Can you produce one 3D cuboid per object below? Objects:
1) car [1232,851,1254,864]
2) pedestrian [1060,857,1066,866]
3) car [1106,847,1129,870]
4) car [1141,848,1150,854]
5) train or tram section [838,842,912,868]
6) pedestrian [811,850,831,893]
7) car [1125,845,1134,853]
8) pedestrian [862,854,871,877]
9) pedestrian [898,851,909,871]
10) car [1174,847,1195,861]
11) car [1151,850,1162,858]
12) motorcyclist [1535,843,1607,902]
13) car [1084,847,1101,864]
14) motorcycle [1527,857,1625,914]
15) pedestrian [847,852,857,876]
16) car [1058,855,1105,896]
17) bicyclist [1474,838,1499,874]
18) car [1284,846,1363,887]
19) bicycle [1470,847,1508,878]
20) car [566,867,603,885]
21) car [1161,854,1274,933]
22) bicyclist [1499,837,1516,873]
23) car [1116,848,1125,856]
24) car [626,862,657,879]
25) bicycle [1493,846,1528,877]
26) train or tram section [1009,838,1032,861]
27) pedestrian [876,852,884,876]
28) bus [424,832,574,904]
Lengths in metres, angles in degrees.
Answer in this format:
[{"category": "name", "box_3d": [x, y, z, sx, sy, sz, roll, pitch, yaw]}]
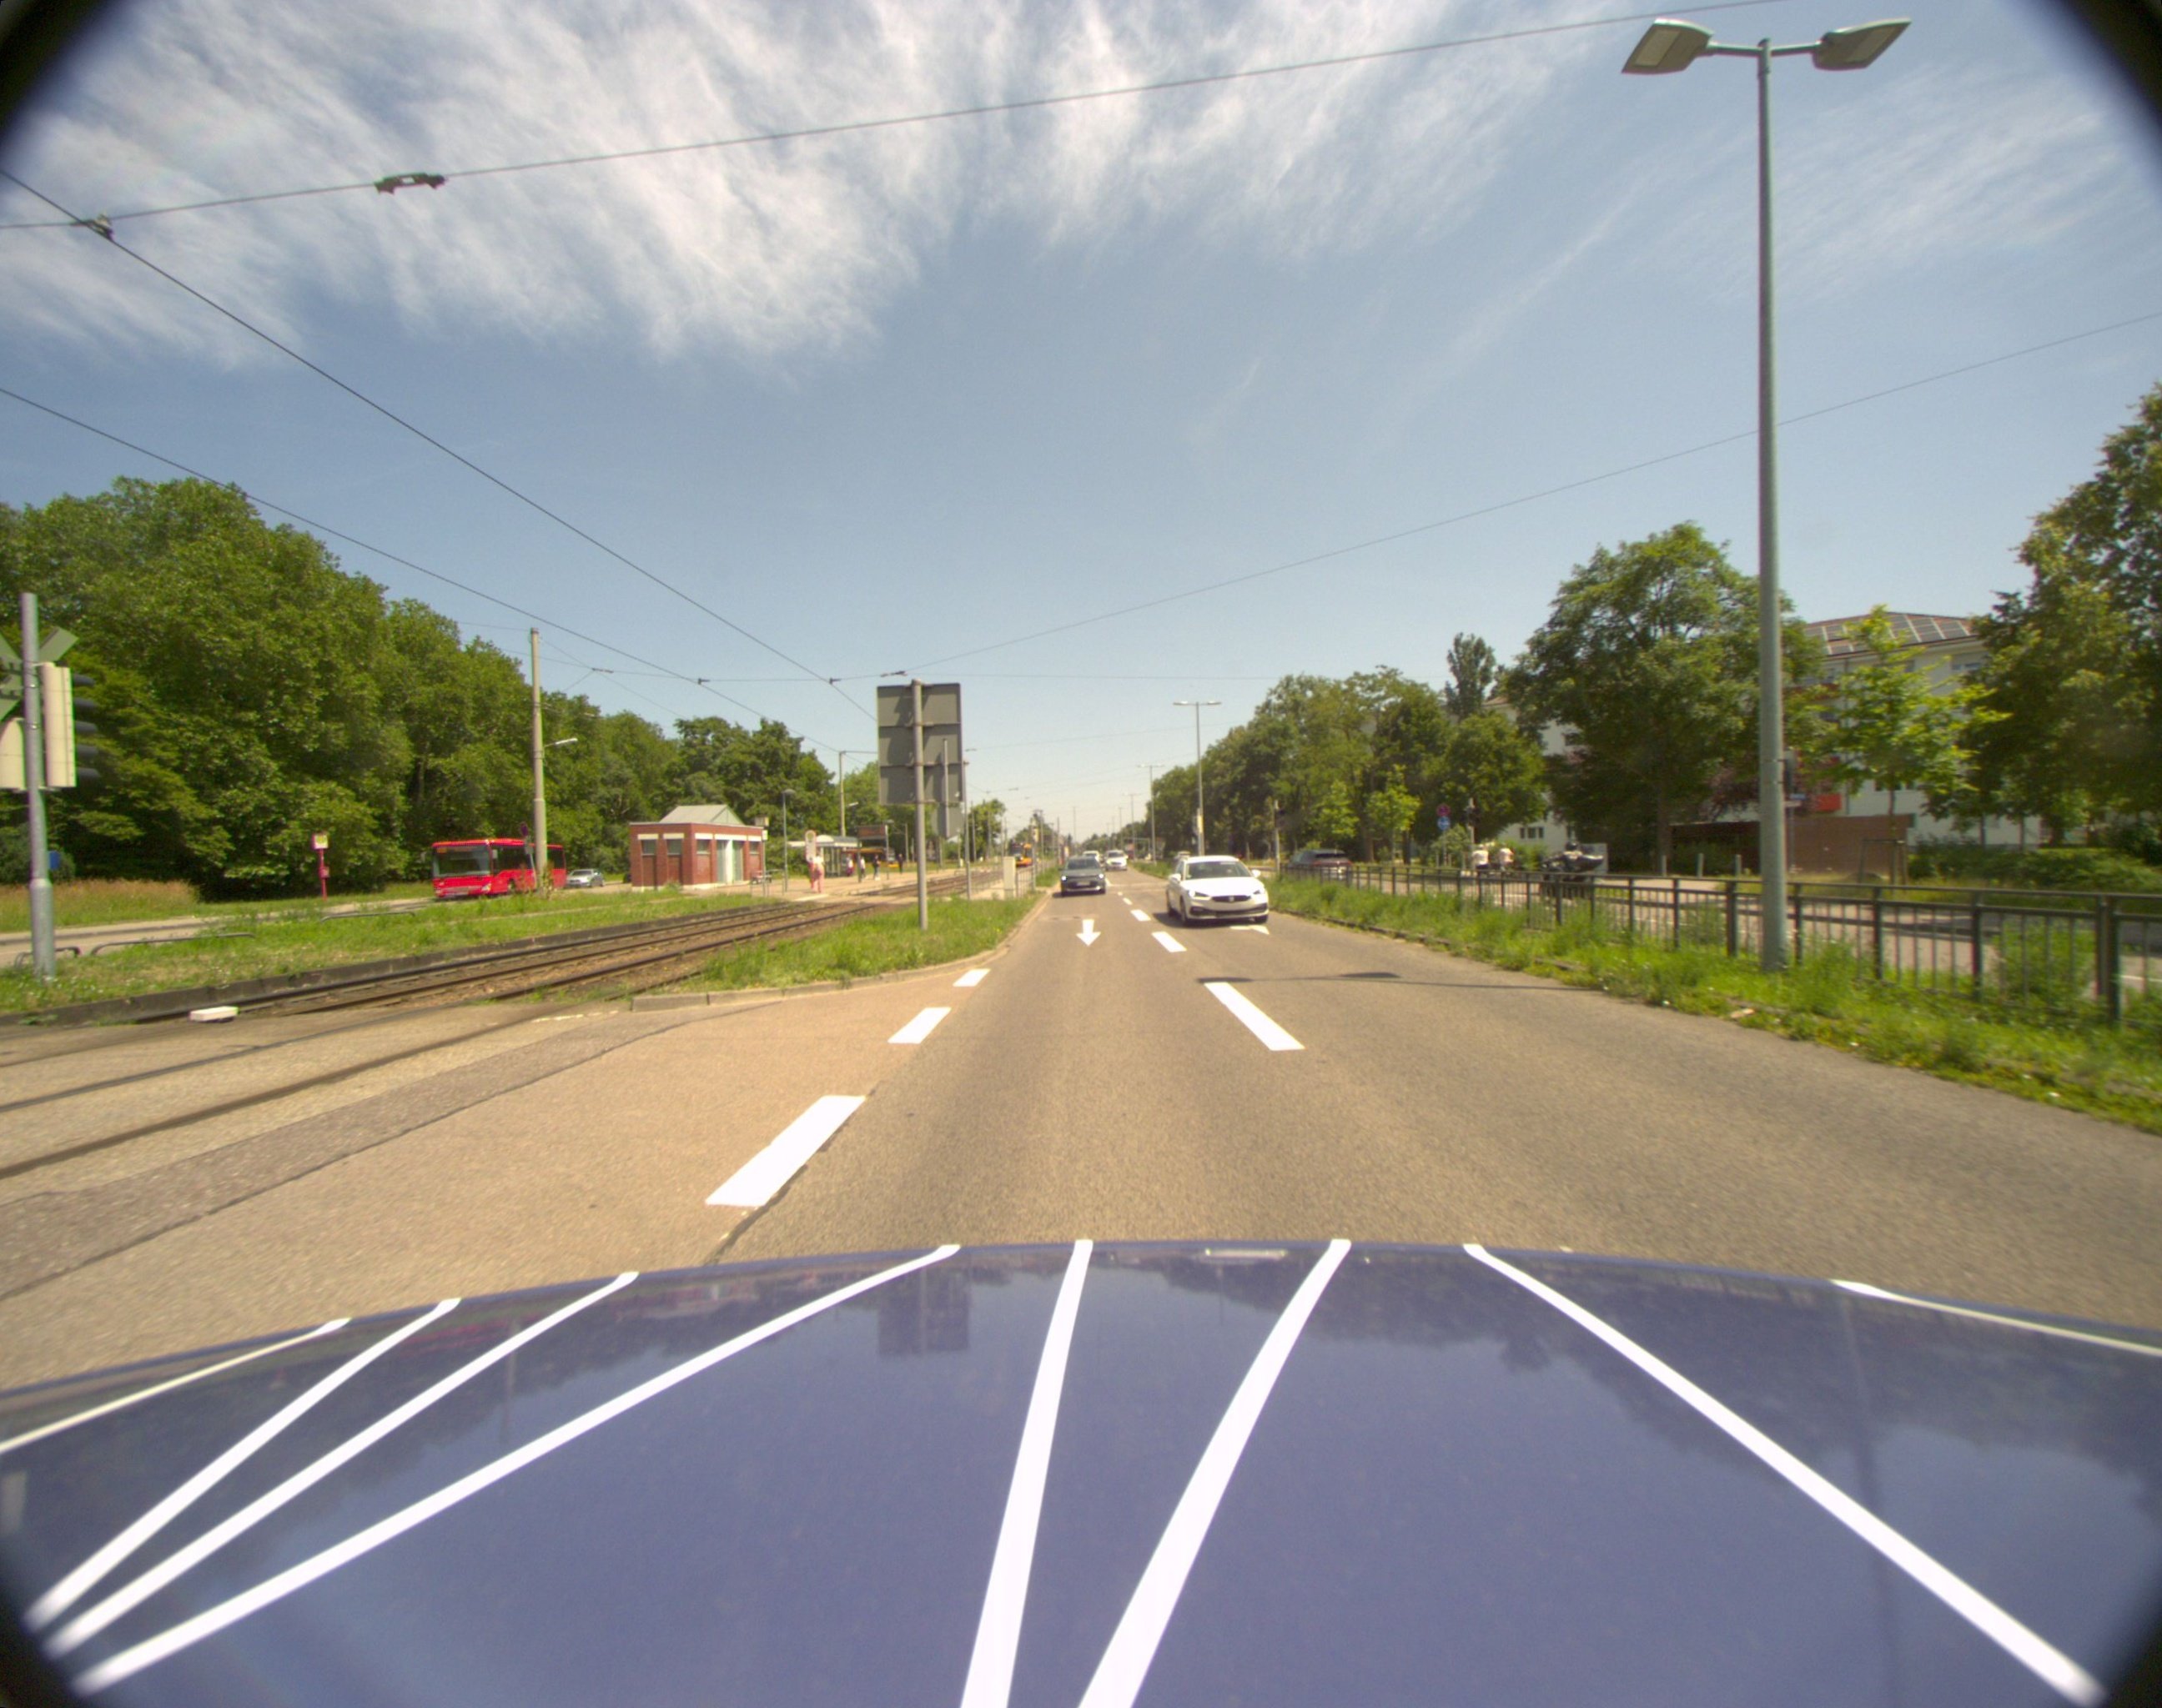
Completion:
[{"category": "car", "box_3d": [20.617, 0.385, 97.053, 1.998, 1.576, 4.000, -1, 0, 1]}, {"category": "pedestrian", "box_3d": [-2.090, 0.835, 88.026, 0.577, 1.034, 0.579, -1, 1, 1]}, {"category": "car", "box_3d": [3.333, 0.376, 69.702, 1.998, 2.002, 4.000, -1, 1, 3]}, {"category": "car", "box_3d": [16.729, -0.886, 196.937, 1.772, 1.545, 4.082, 0, 1, -1]}, {"category": "train or tram section", "box_3d": [-32.692, 0.220, 120.370, 13.151, 3.628, 2.720, -2, 2, 31]}, {"category": "pedestrian", "box_3d": [-11.056, 0.726, 32.354, 0.637, 1.749, 0.815, -3, 2, -13]}, {"category": "car", "box_3d": [12.017, -1.291, 188.278, 1.998, 2.002, 4.000, -1, 0, 2]}, {"category": "pedestrian", "box_3d": [-15.014, 0.816, 53.278, 0.361, 1.587, 0.483, -3, 2, 4]}, {"category": "pedestrian", "box_3d": [-15.515, 0.602, 66.404, 0.707, 1.754, 0.657, -1, 1, 3]}, {"category": "car", "box_3d": [12.395, 0.008, 91.578, 1.826, 1.563, 4.346, -1, 0, -1]}, {"category": "car", "box_3d": [16.585, 0.015, 166.630, 1.864, 1.748, 4.478, -2, 1, -2]}, {"category": "motorcyclist", "box_3d": [12.160, 0.437, 18.901, 0.738, 1.395, 1.512, -1, 1, -4]}, {"category": "car", "box_3d": [1.406, 0.209, 91.945, 1.921, 2.002, 4.000, -1, 0, 0]}, {"category": "motorcycle", "box_3d": [12.204, 0.734, 18.845, 0.807, 1.291, 2.394, -1, 0, -2]}, {"category": "pedestrian", "box_3d": [-17.311, 0.746, 57.433, 0.382, 1.764, 0.740, -3, 2, 4]}, {"category": "car", "box_3d": [0.079, 0.869, 32.015, 1.787, 1.554, 4.136, -1, 0, 3]}, {"category": "bicyclist", "box_3d": [15.560, 0.077, 29.194, 0.546, 1.338, 0.755, -1, 1, 0]}, {"category": "car", "box_3d": [9.822, 0.455, 31.101, 1.761, 1.534, 4.160, -1, 0, -2]}, {"category": "bicycle", "box_3d": [15.566, 0.322, 29.034, 0.589, 1.126, 1.615, -1, 0, 1]}, {"category": "car", "box_3d": [-36.955, 1.616, 56.637, 1.575, 1.259, 3.992, -1, 0, -22]}, {"category": "car", "box_3d": [2.957, 0.796, 17.266, 1.772, 1.460, 4.111, -3, 0, 0]}, {"category": "bicyclist", "box_3d": [16.277, 0.037, 29.005, 0.358, 1.384, 0.440, -2, 1, 3]}, {"category": "car", "box_3d": [9.165, -0.498, 176.616, 1.816, 1.630, 4.002, -3, -2, 1]}, {"category": "car", "box_3d": [-43.030, 1.601, 74.470, 1.889, 1.502, 3.993, -1, 0, -18]}, {"category": "bicycle", "box_3d": [16.274, 0.278, 28.830, 0.555, 1.088, 1.379, -3, 1, 2]}, {"category": "train or tram section", "box_3d": [-8.847, -0.621, 112.442, 2.524, 3.303, 7.260, -1, 0, 1]}, {"category": "pedestrian", "box_3d": [-13.897, 0.713, 52.614, 0.361, 1.636, 0.445, -1, 1, 4]}, {"category": "bus", "box_3d": [-32.830, 0.653, 43.662, 2.770, 3.419, 12.424, -4, 1, -19]}]
